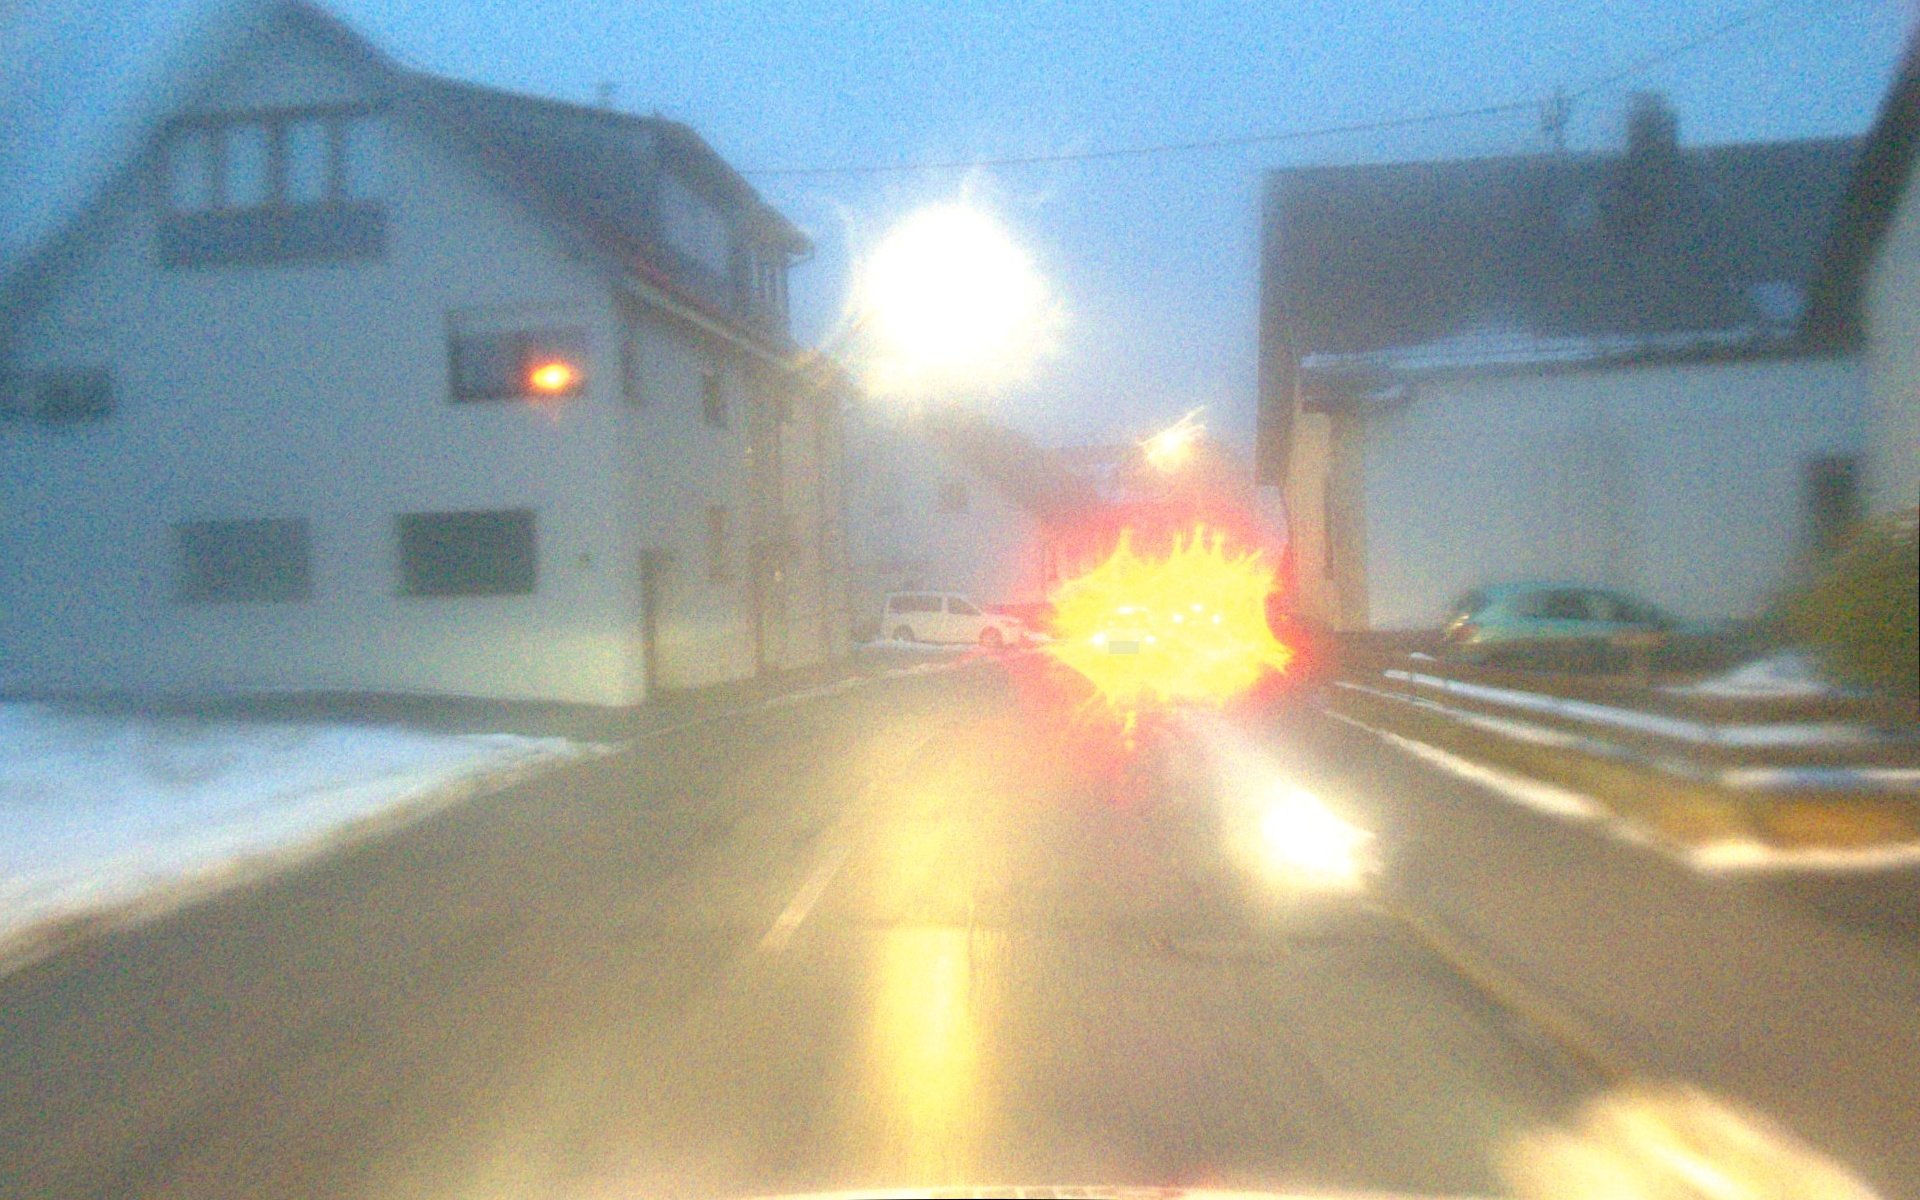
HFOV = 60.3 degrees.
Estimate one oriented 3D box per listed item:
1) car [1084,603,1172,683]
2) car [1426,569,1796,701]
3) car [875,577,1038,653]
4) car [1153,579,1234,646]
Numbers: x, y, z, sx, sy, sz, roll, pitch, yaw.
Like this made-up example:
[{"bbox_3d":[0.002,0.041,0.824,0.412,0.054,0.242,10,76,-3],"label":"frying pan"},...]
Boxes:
[{"bbox_3d":[4.156,0.999,40.399,1.951,1.533,4.005,-3,3,8],"label":"car"},{"bbox_3d":[7.937,0.394,20.458,3.903,1.478,1.716,0,3,4],"label":"car"},{"bbox_3d":[-0.107,0.474,52.280,4.635,2.048,2.001,-3,3,21],"label":"car"},{"bbox_3d":[7.867,0.392,55.408,1.952,1.869,4.004,-3,3,18],"label":"car"}]
